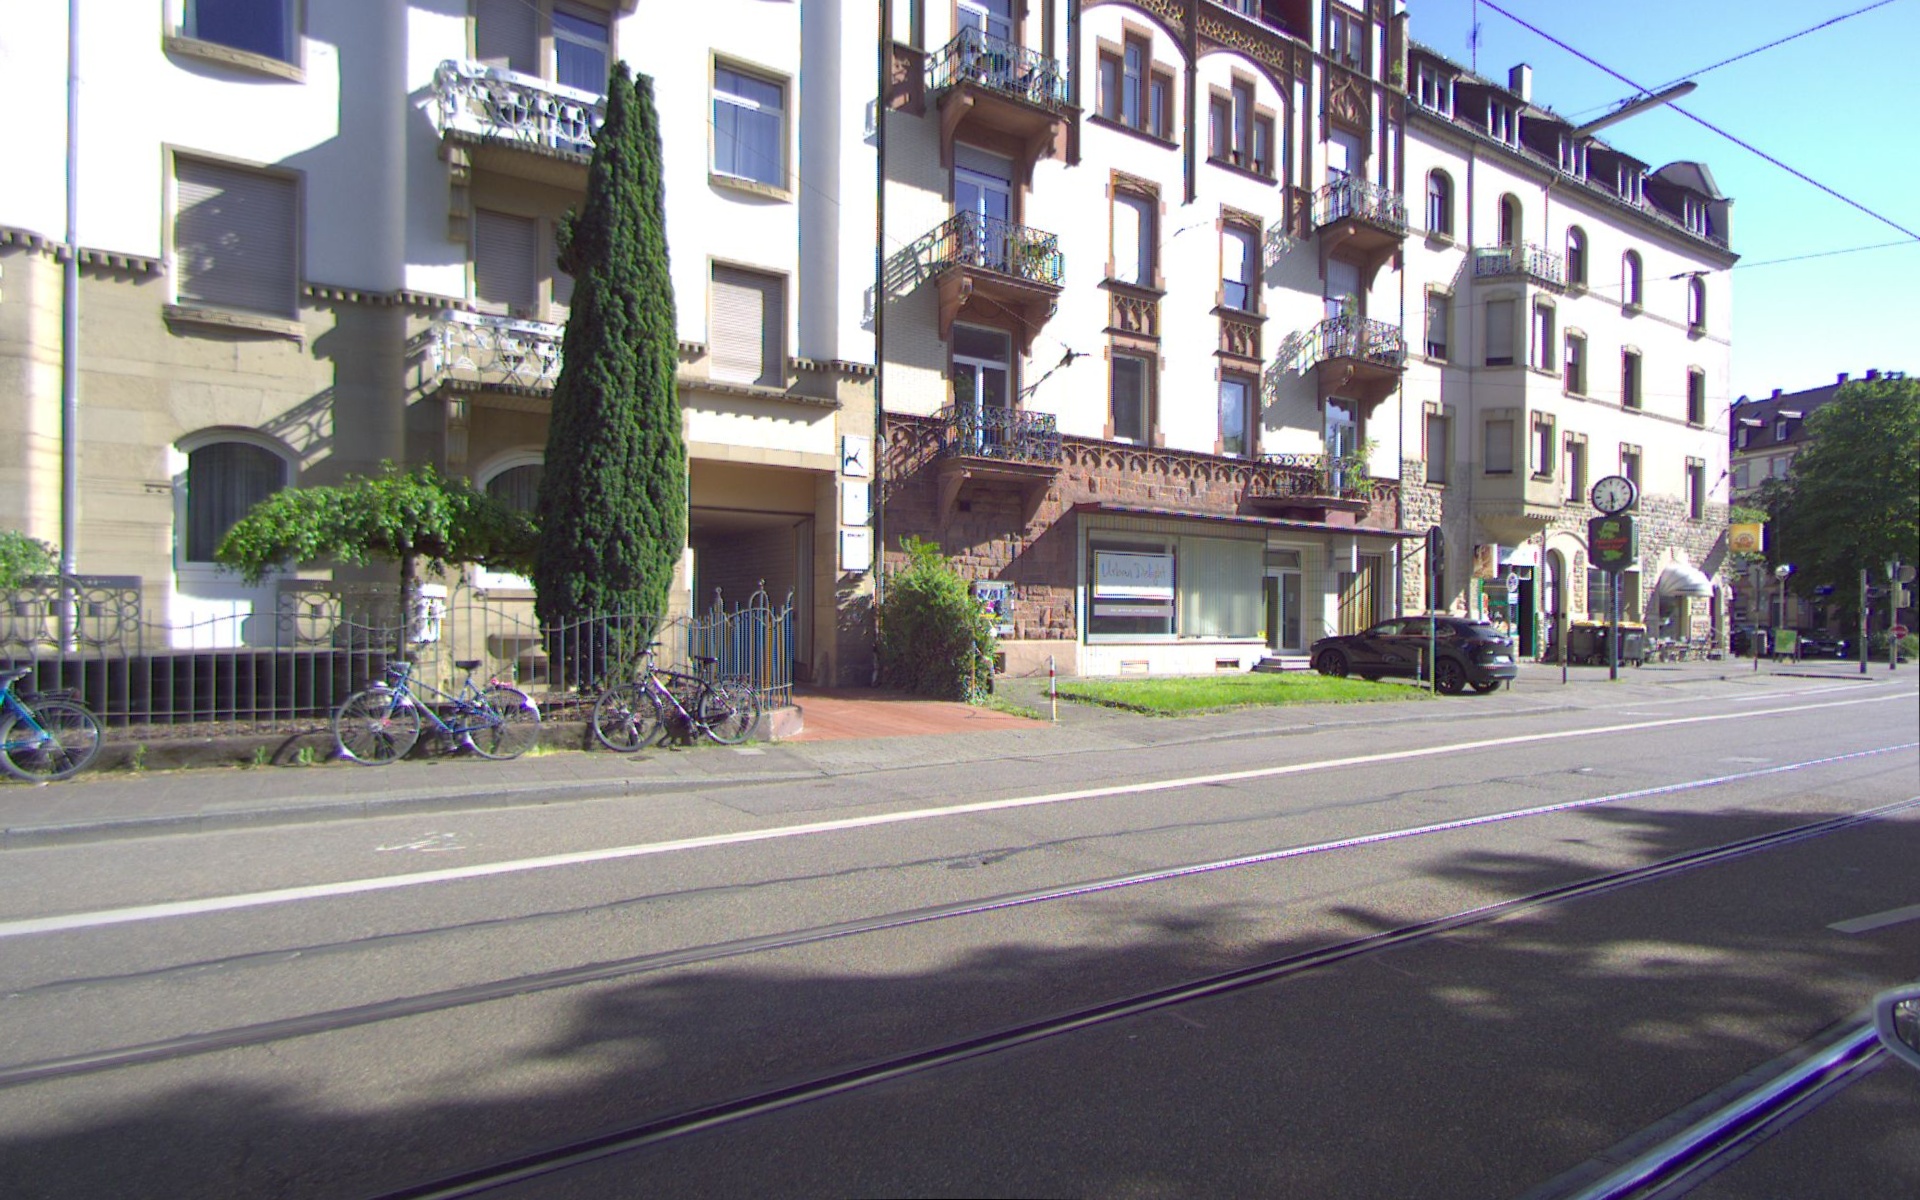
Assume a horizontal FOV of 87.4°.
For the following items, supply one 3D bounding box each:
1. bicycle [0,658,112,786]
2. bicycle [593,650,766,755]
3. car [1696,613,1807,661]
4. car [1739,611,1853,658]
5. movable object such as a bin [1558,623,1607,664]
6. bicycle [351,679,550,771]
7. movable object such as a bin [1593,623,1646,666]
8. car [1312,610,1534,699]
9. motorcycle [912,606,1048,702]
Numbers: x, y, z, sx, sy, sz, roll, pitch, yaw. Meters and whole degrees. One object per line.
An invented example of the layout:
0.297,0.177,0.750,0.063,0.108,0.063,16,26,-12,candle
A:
-7.706,0.938,7.736,1.728,0.955,0.402,2,0,-31,bicycle
-3.004,1.080,10.843,1.728,1.053,0.402,2,0,-31,bicycle
37.064,1.693,47.198,1.961,2.040,3.999,2,0,-1,car
39.313,1.587,47.373,1.961,2.040,3.999,2,0,-1,car
19.862,1.390,32.049,1.228,1.239,0.829,2,0,-28,movable object such as a bin
-4.760,1.150,9.458,1.633,0.772,0.316,2,0,-31,bicycle
20.642,1.394,31.438,1.128,1.290,0.942,2,0,-26,movable object such as a bin
9.860,1.099,21.651,1.755,1.523,3.958,2,1,-36,car
0.275,0.885,17.625,0.814,1.476,3.067,2,0,-32,motorcycle
